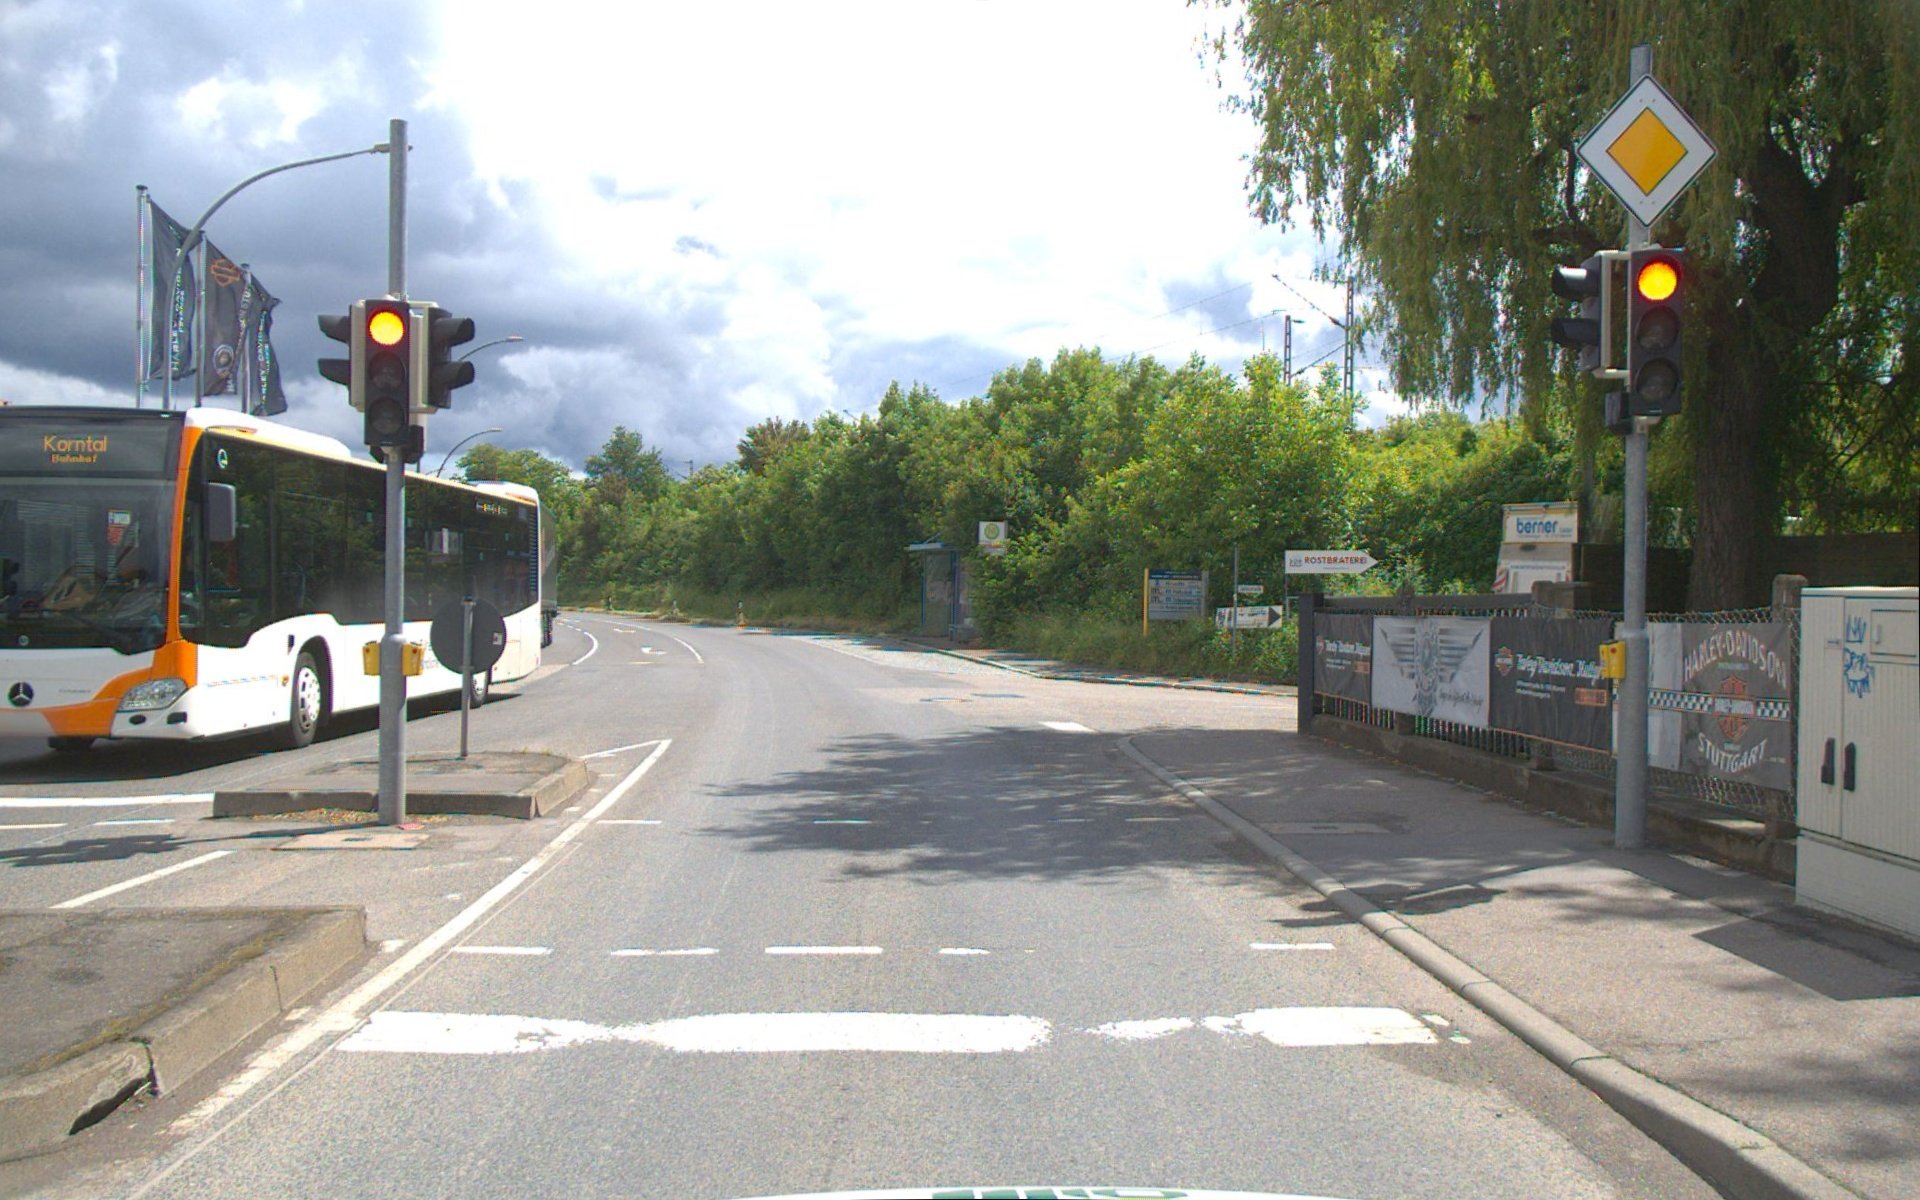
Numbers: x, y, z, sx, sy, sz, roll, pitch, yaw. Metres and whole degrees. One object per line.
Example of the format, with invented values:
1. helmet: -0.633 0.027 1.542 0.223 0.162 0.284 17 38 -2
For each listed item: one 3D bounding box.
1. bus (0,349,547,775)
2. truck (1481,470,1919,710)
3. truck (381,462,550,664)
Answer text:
1. bus: -7.507 -0.287 18.947 2.721 3.323 12.120 0 0 -1
2. truck: 14.238 -0.038 29.057 9.529 3.602 2.838 3 -1 -15
3. truck: -11.722 -0.780 39.999 2.383 4.203 9.133 3 0 -8
